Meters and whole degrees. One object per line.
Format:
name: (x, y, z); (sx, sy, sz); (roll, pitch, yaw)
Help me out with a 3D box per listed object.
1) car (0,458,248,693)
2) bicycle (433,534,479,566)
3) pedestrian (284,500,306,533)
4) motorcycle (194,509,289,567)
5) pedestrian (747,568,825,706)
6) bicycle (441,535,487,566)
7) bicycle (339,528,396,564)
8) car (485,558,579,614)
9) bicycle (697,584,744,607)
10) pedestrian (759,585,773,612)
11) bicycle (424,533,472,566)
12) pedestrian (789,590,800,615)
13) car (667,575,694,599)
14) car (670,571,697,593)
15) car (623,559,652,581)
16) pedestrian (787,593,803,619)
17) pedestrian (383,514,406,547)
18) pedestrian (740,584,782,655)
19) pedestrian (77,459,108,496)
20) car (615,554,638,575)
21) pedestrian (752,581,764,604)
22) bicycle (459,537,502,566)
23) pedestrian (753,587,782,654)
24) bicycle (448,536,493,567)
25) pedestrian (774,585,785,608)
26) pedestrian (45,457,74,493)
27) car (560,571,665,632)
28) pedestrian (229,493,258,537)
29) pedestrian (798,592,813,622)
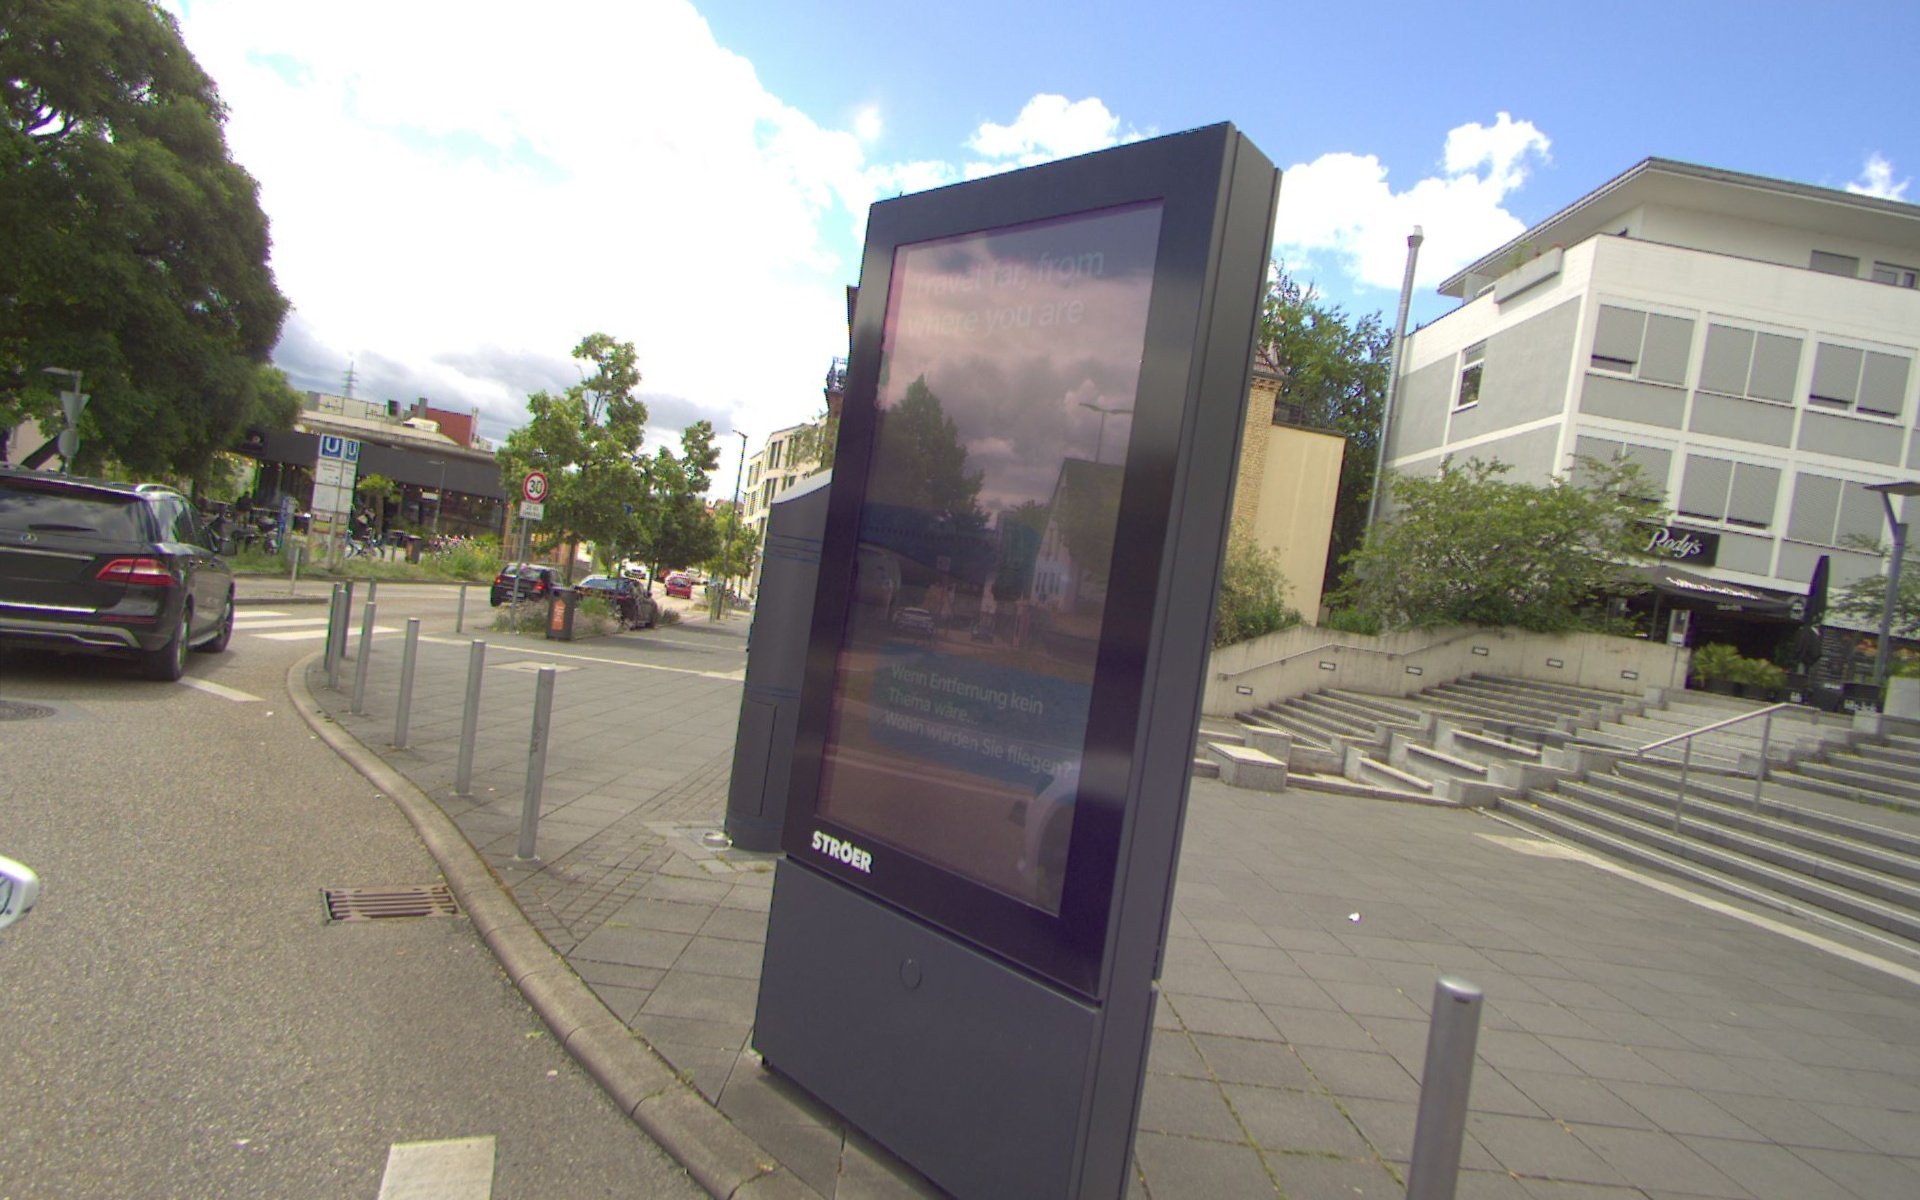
car: (-8.473, -0.334, 9.771); (2.012, 1.748, 4.398); (7, 0, -30)
bicycle: (-21.447, -2.123, 42.858); (1.546, 1.082, 0.538); (8, 0, -7)
pedestrian: (-30.147, -3.762, 45.597); (0.575, 1.396, 0.613); (7, 1, -20)
motorcycle: (-20.768, -1.788, 29.112); (2.103, 1.305, 0.582); (10, 3, -6)
pedestrian: (-2.397, 0.496, 13.827); (0.698, 1.767, 0.771); (7, 1, -25)
bicycle: (-21.515, -2.136, 43.658); (1.546, 1.104, 0.577); (8, 0, -7)
bicycle: (-20.737, -1.877, 35.227); (1.587, 1.009, 0.500); (8, 0, -2)
car: (-13.202, -0.424, 31.239); (1.586, 1.399, 3.830); (8, 0, -8)
bicycle: (-16.447, -0.281, 69.193); (3.020, 1.160, 0.708); (8, 0, -12)
pedestrian: (-13.067, -0.119, 67.640); (0.653, 1.703, 0.567); (8, 1, -7)
bicycle: (-21.410, -2.114, 42.088); (1.546, 1.104, 0.577); (8, 0, -7)
pedestrian: (-11.762, 0.162, 71.554); (0.551, 1.712, 0.637); (8, 1, -11)
car: (-19.228, -0.908, 69.309); (1.589, 1.400, 3.823); (8, 0, -16)
car: (-23.123, -1.520, 84.170); (1.819, 1.541, 3.989); (11, -1, -13)
car: (-30.289, -2.830, 94.456); (1.827, 1.626, 3.972); (11, -1, -27)
pedestrian: (-10.388, 0.376, 63.350); (0.703, 1.582, 0.566); (8, 1, -17)
pedestrian: (-27.713, -3.404, 49.320); (0.572, 1.481, 0.616); (8, 1, 1)
pedestrian: (-4.927, 0.483, 24.892); (0.667, 1.649, 0.552); (7, 0, 36)
pedestrian: (-42.624, -6.000, 49.439); (0.775, 1.647, 0.635); (7, 1, -9)
car: (-36.824, -3.898, 110.906); (1.824, 1.879, 4.472); (11, -1, -22)
pedestrian: (-15.557, -0.583, 77.480); (0.554, 1.703, 0.564); (8, 1, -29)
bicycle: (-21.677, -2.188, 45.513); (1.546, 1.104, 0.577); (8, 0, -7)
pedestrian: (-4.891, 0.516, 25.589); (0.496, 1.649, 0.510); (7, 0, -3)
bicycle: (-21.677, -2.152, 44.575); (1.546, 1.104, 0.577); (8, 0, -7)
pedestrian: (-13.746, -0.282, 76.604); (0.551, 1.703, 0.567); (8, 1, -11)
pedestrian: (-45.291, -6.272, 50.592); (0.626, 1.596, 0.787); (7, 1, -7)
car: (-10.004, 0.045, 29.305); (1.830, 1.422, 4.370); (7, -1, -6)
pedestrian: (-27.968, -3.310, 39.285); (0.573, 1.596, 0.614); (8, 1, 32)
pedestrian: (-8.881, 0.412, 57.846); (0.623, 1.646, 0.698); (8, 1, -9)
